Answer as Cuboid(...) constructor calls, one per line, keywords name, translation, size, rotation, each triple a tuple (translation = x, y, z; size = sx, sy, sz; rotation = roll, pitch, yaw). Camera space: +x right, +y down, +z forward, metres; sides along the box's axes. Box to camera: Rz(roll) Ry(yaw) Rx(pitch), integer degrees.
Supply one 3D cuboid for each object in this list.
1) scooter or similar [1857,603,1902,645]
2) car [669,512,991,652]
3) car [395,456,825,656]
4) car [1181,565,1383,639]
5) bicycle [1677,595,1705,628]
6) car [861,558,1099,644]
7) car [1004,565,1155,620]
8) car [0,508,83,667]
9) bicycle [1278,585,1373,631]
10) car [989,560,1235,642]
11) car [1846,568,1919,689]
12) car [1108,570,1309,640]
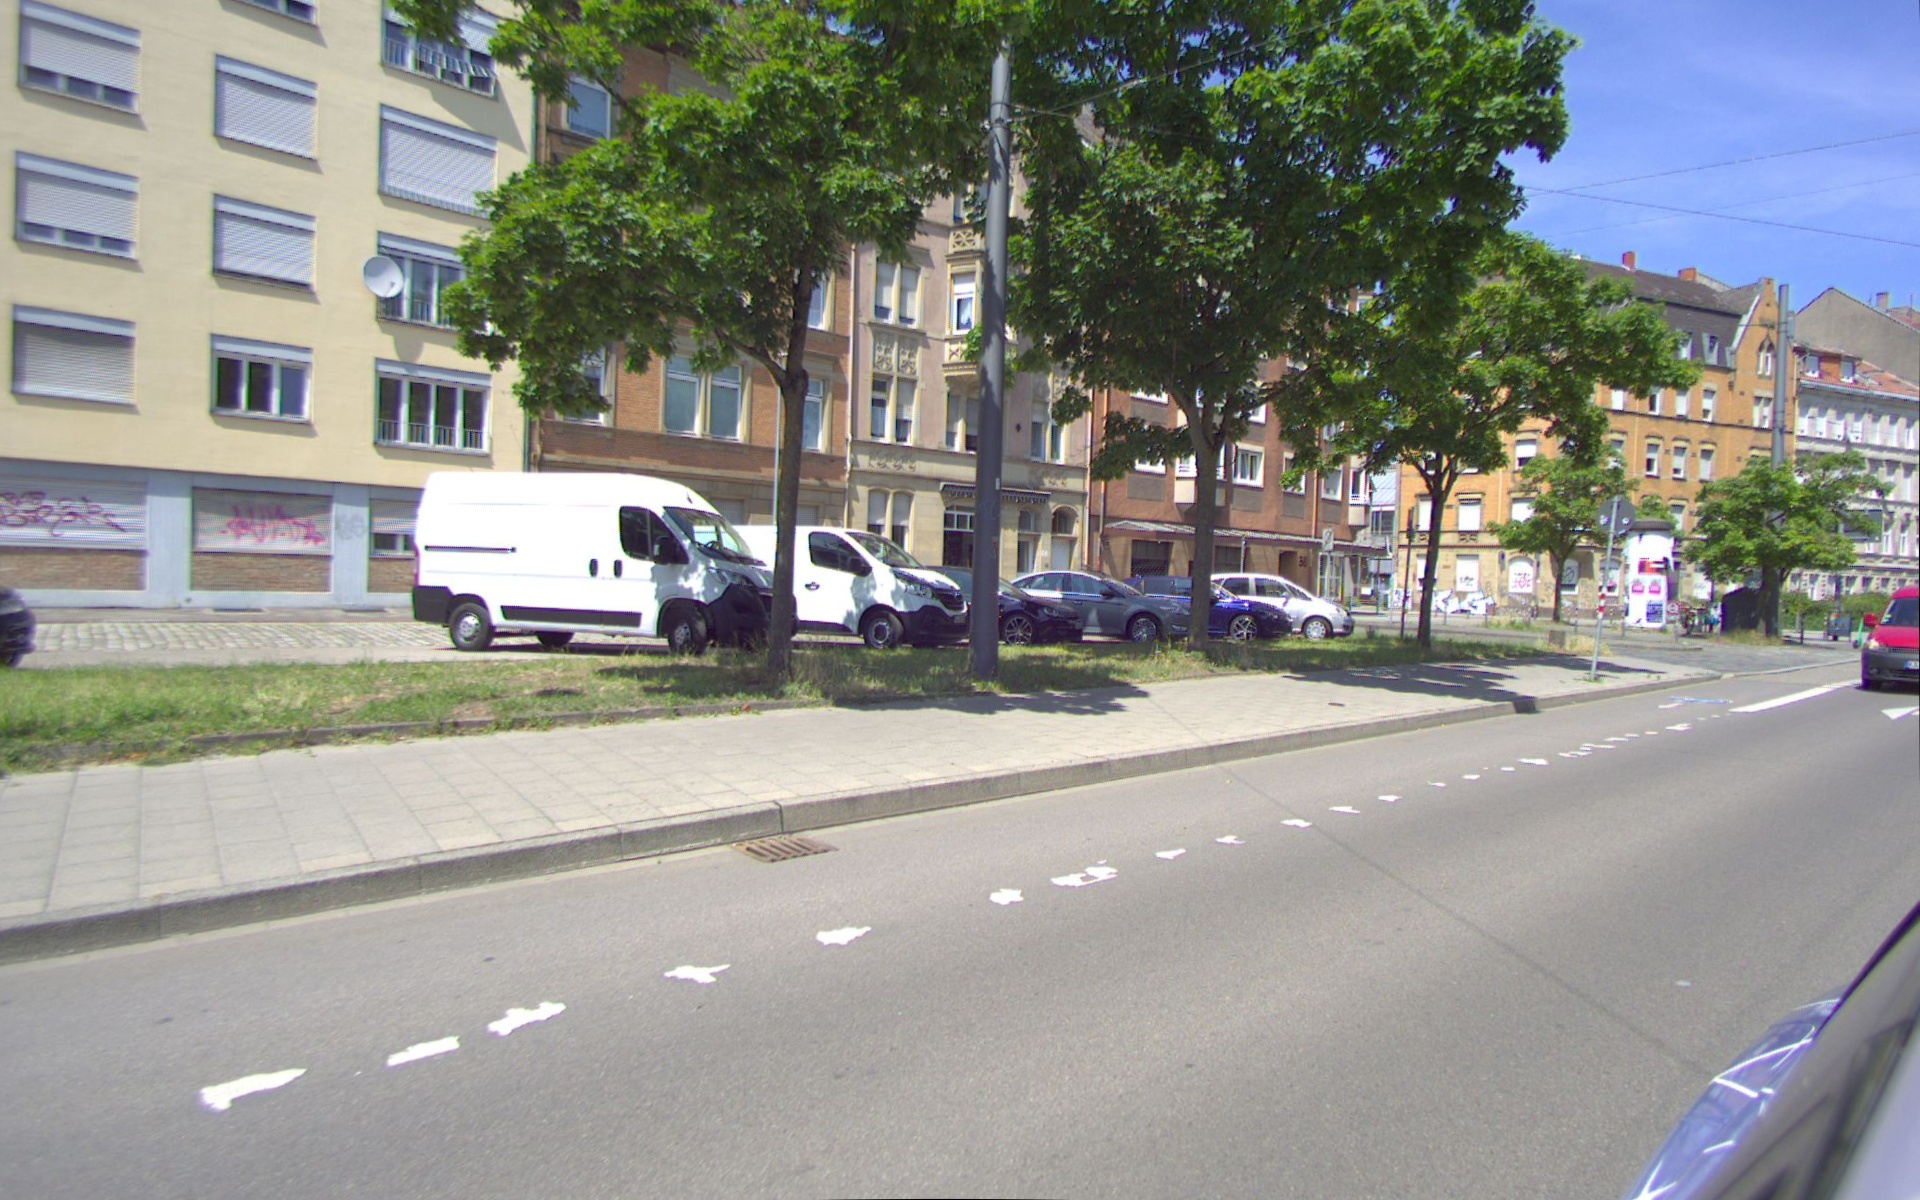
Cuboid(name="scooter or similar", translation=(28.993, 0.743, 31.898), size=(1.154, 1.228, 0.393), rotation=(3, 3, -16))
Cuboid(name="car", translation=(-2.097, -0.291, 16.386), size=(4.791, 1.998, 2.061), rotation=(1, 0, 22))
Cuboid(name="car", translation=(-4.882, -0.585, 14.368), size=(5.470, 2.491, 2.228), rotation=(1, 0, 14))
Cuboid(name="car", translation=(7.764, 0.016, 24.455), size=(4.373, 1.652, 1.980), rotation=(1, 0, 29))
Cuboid(name="bicycle", translation=(25.984, 0.397, 35.961), size=(1.680, 1.167, 0.486), rotation=(0, 0, -43))
Cuboid(name="car", translation=(0.342, -0.011, 18.367), size=(3.966, 1.404, 1.804), rotation=(1, 0, 30))
Cuboid(name="car", translation=(3.821, -0.234, 32.159), size=(4.509, 1.620, 2.001), rotation=(0, 0, -33))
Cuboid(name="car", translation=(-10.347, -0.128, 8.984), size=(4.374, 1.355, 1.960), rotation=(1, 0, 19))
Cuboid(name="bicycle", translation=(9.856, 0.212, 27.343), size=(2.312, 1.208, 0.742), rotation=(0, 0, -8))
Cuboid(name="car", translation=(3.054, -0.010, 20.526), size=(4.588, 1.516, 1.947), rotation=(1, 0, 27))
Cuboid(name="car", translation=(16.724, 0.439, 16.884), size=(5.069, 1.857, 1.860), rotation=(0, 0, -36))
Cuboid(name="car", translation=(5.460, 0.069, 22.318), size=(3.966, 1.417, 1.804), rotation=(1, 0, 30))
